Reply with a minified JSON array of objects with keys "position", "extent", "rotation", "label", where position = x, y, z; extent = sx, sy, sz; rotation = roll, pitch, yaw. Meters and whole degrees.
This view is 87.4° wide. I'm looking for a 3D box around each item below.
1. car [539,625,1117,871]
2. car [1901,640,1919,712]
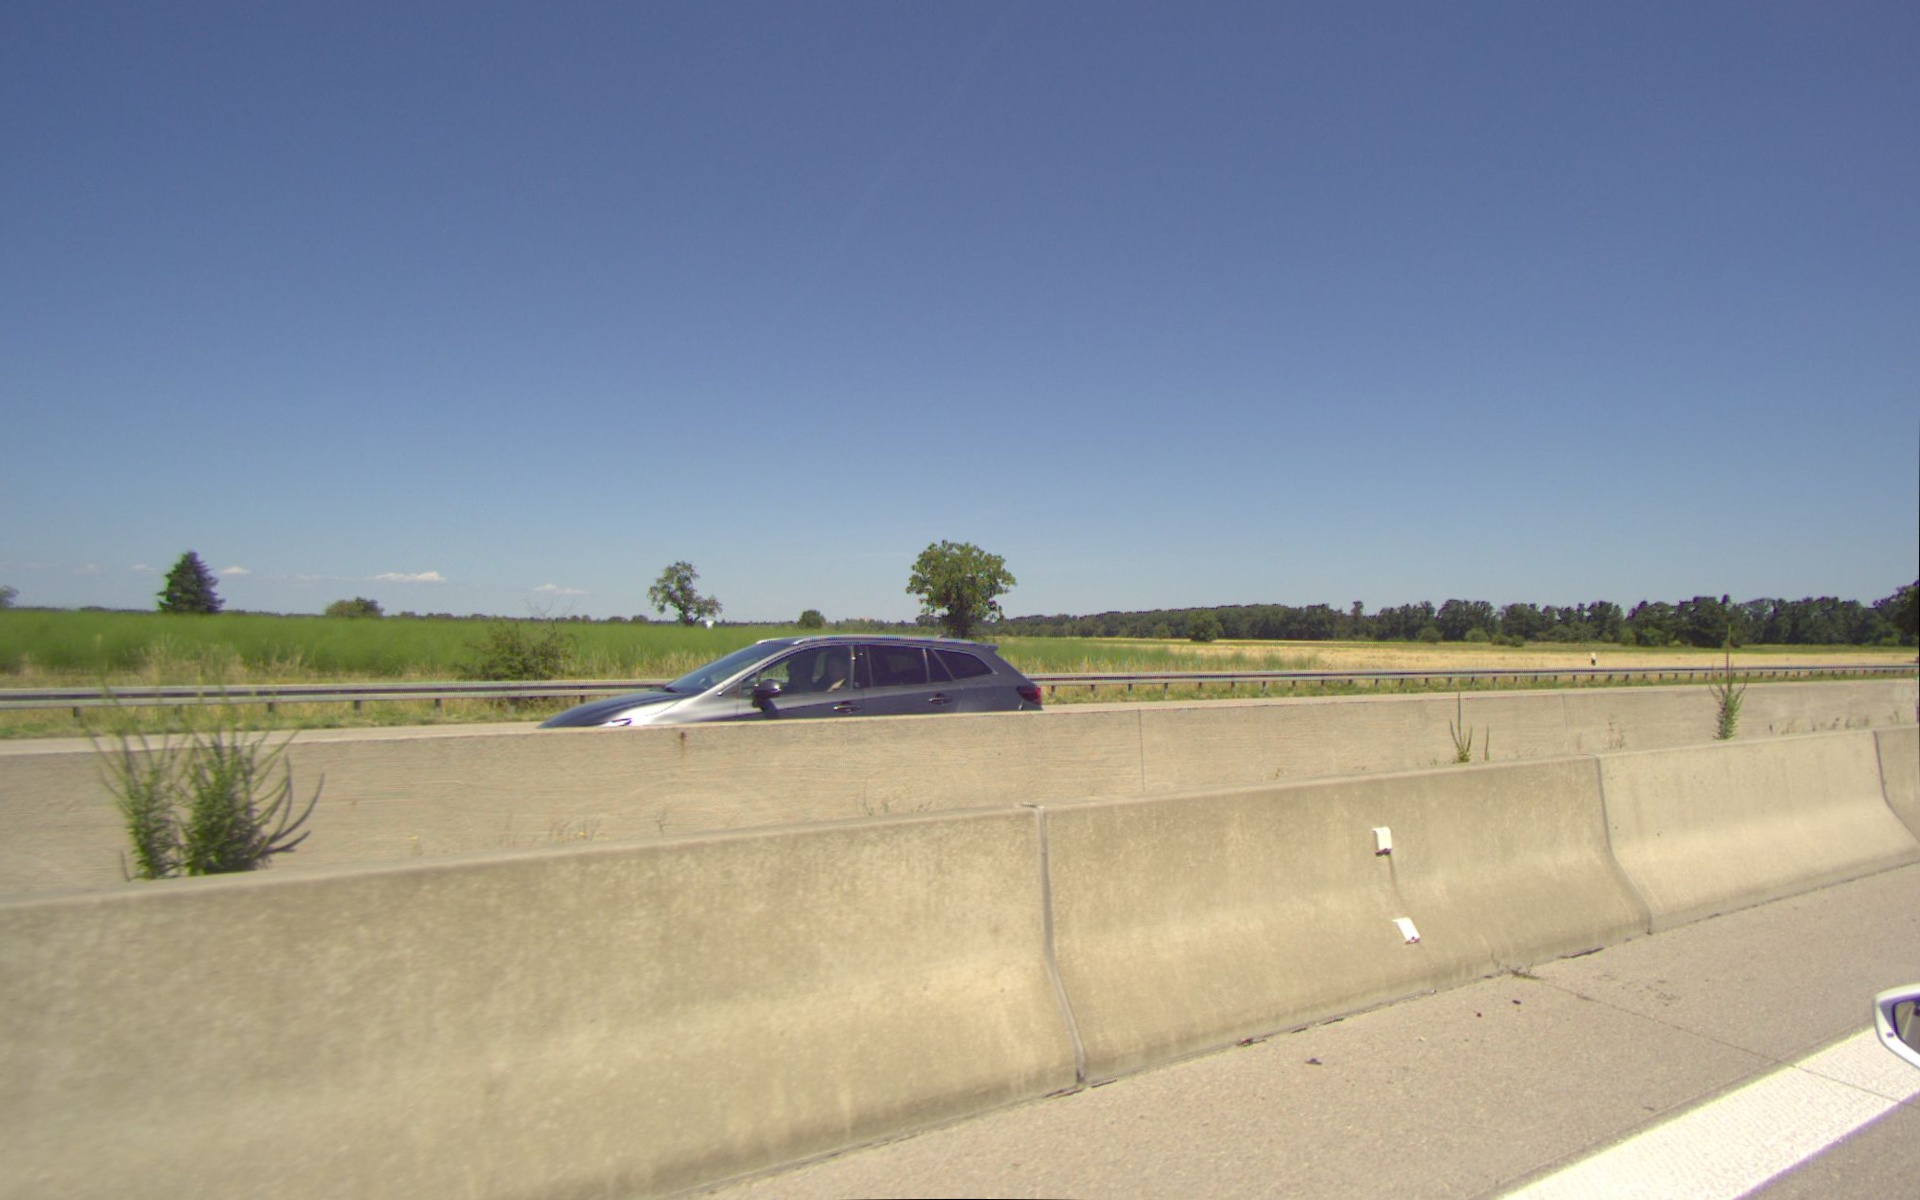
[{"position":[-1.060,1.123,9.161],"extent":[4.879,1.673,1.894],"rotation":[2,0,-32],"label":"car"},{"position":[25.454,1.898,24.901],"extent":[4.628,1.717,1.873],"rotation":[2,0,-30],"label":"car"}]
